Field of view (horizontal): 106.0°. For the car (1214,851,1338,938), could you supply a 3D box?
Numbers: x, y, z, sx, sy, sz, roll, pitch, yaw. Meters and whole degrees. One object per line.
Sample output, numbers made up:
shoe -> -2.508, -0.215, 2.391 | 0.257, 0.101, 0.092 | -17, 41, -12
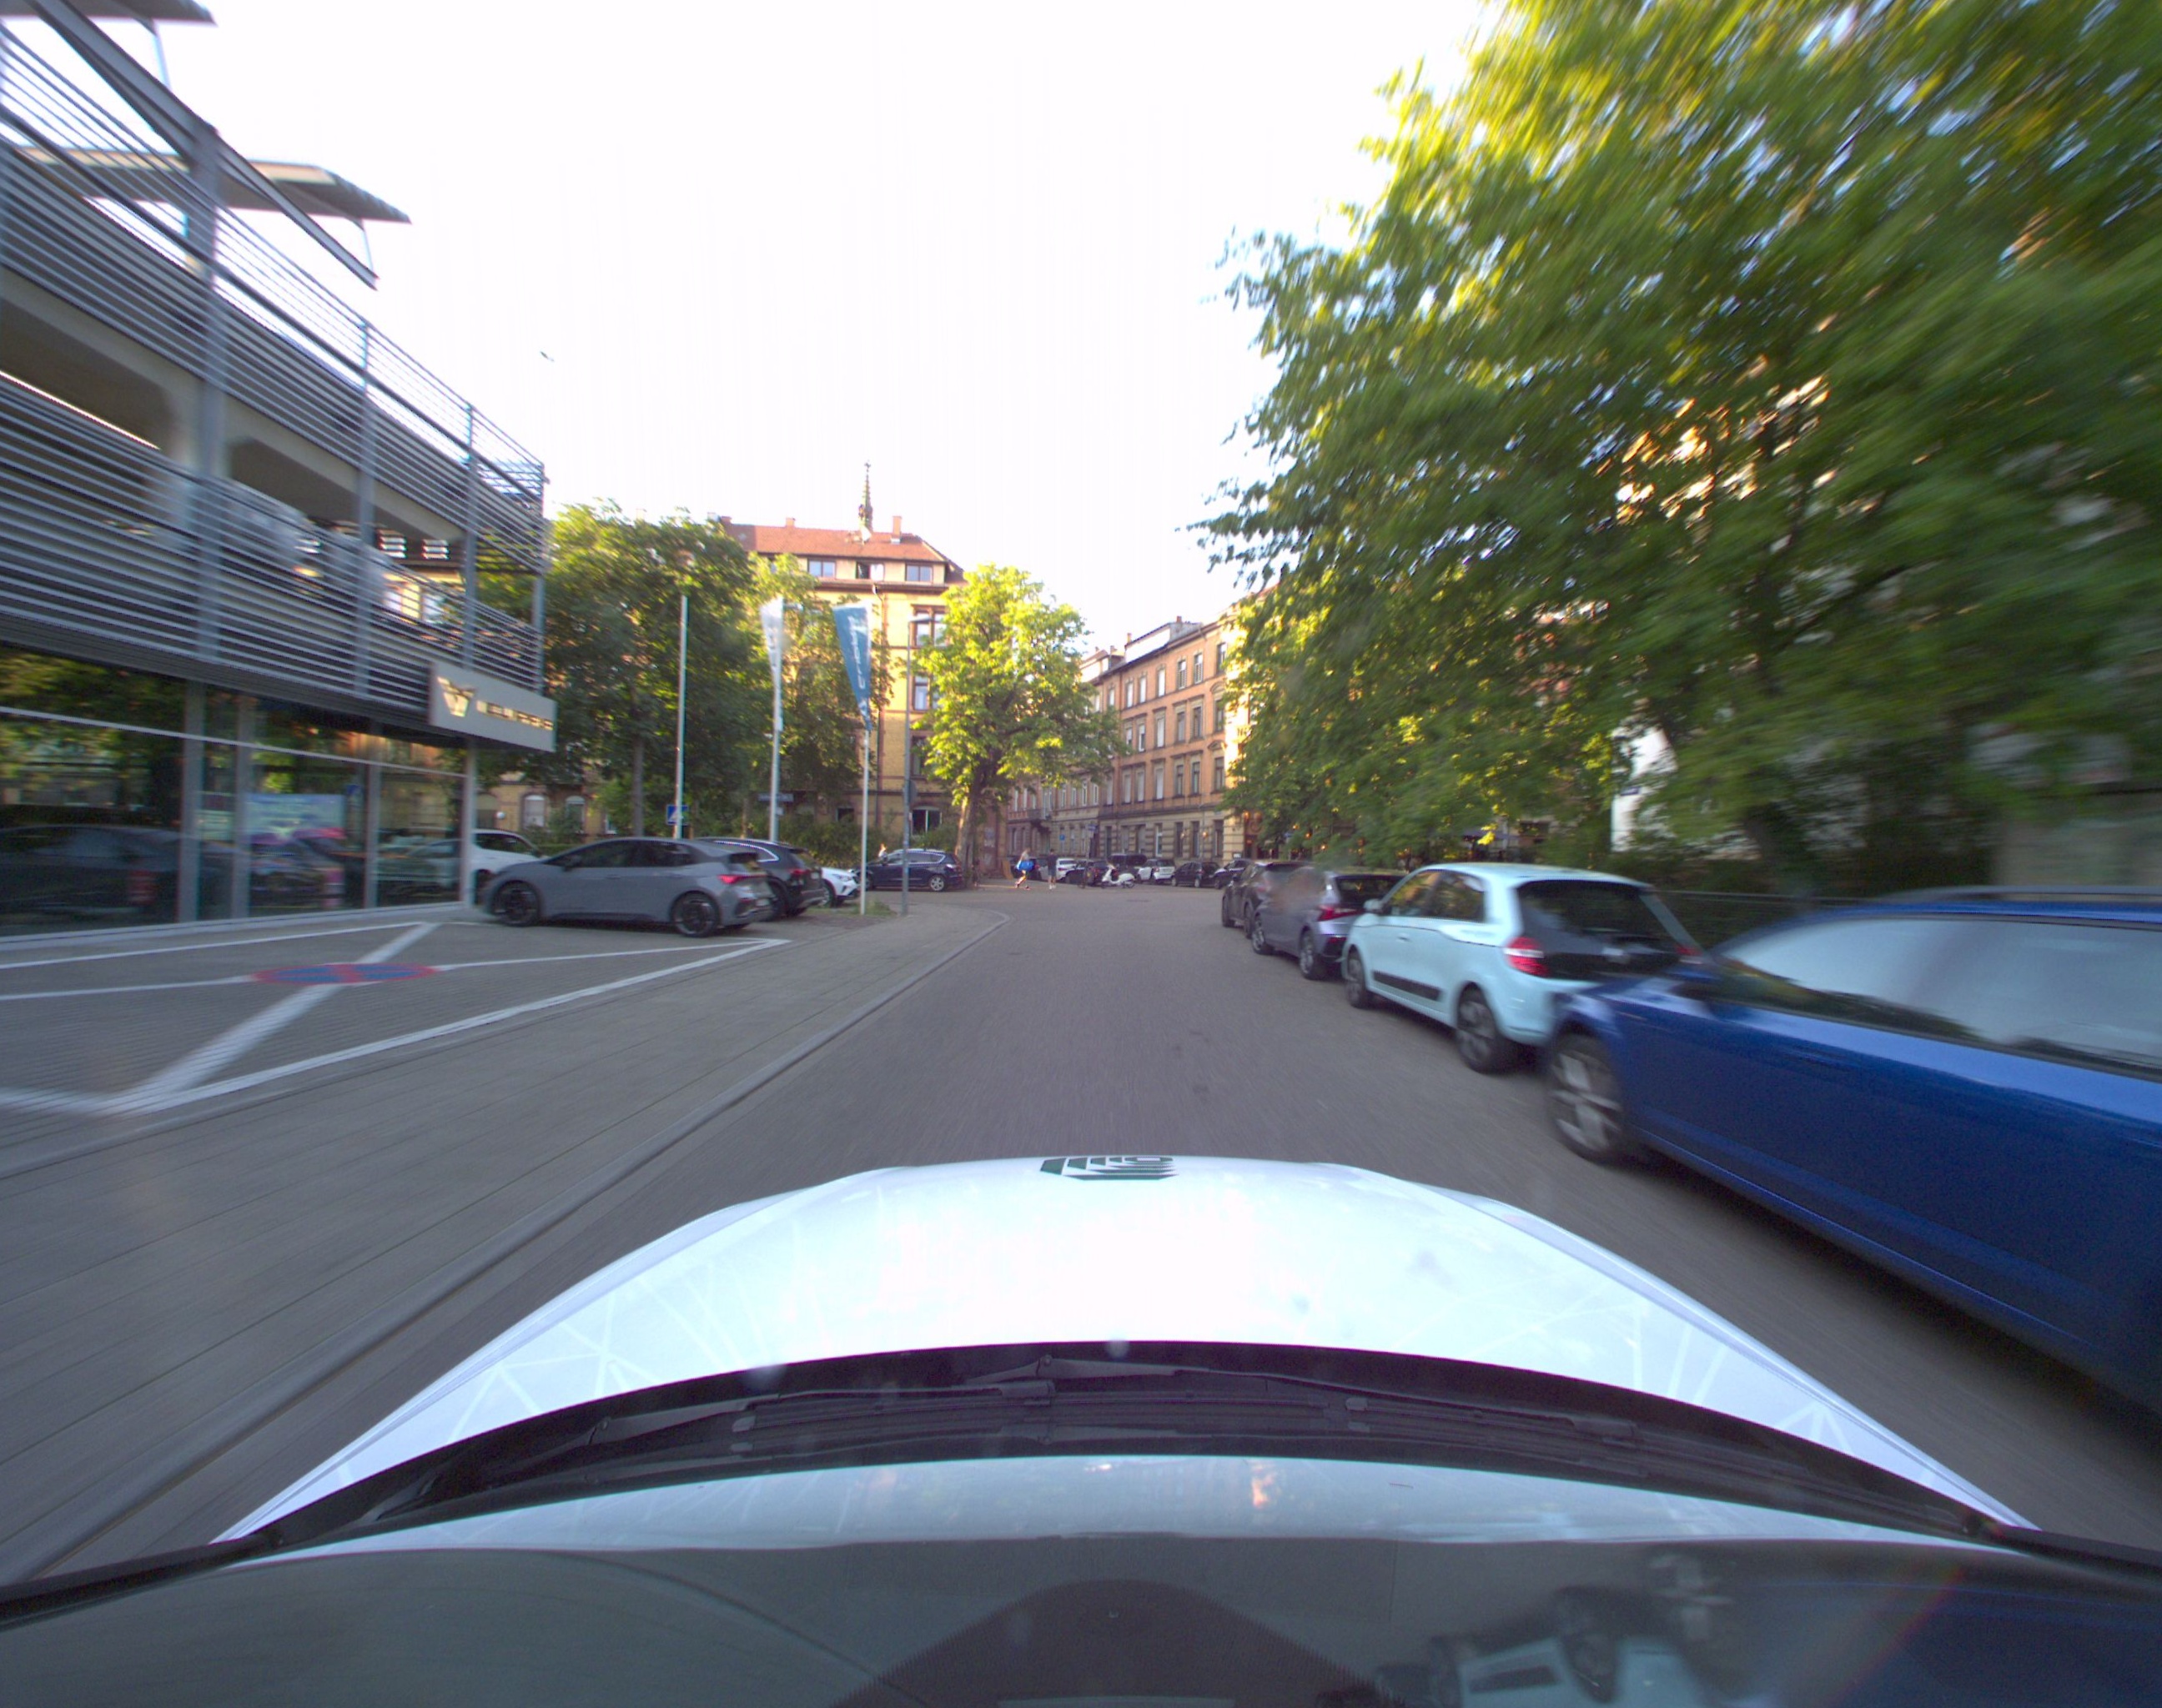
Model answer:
car -> 3.931, 0.760, 17.012 | 1.689, 1.571, 3.972 | 1, 0, 1

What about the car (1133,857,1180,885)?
car -> 4.470, 1.011, 48.629 | 1.681, 1.525, 2.746 | 2, 0, -22

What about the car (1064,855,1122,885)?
car -> 0.597, 0.843, 43.655 | 1.661, 1.431, 3.961 | 2, 1, -22

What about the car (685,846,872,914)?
car -> -7.683, 0.624, 20.995 | 4.035, 1.475, 1.919 | 3, 1, -3

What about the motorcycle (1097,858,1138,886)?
motorcycle -> 1.791, 0.912, 40.341 | 1.931, 1.340, 0.575 | 1, 0, -9

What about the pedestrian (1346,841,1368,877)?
pedestrian -> 14.251, 0.260, 42.070 | 0.774, 1.804, 0.839 | 1, 0, -13

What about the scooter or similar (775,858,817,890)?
scooter or similar -> -11.180, 0.789, 31.940 | 1.519, 1.224, 0.442 | 1, 0, -23

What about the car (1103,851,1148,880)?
car -> 2.833, 0.708, 52.158 | 1.681, 1.782, 2.992 | 2, 0, -22

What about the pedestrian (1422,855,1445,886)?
pedestrian -> 17.461, 0.806, 40.348 | 0.773, 1.481, 0.759 | 1, 0, -9

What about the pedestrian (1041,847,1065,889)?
pedestrian -> -1.240, 0.621, 35.706 | 0.737, 1.804, 1.115 | 1, 0, -19

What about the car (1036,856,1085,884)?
car -> -1.275, 0.918, 48.302 | 1.660, 1.431, 4.139 | 2, 1, -20

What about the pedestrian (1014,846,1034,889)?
pedestrian -> -2.452, 0.566, 35.372 | 0.813, 1.852, 0.802 | 1, 0, -3

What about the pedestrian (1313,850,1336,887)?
pedestrian -> 12.221, 0.734, 40.940 | 0.774, 1.804, 0.839 | 1, 0, -13

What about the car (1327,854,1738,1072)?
car -> 3.658, 0.767, 7.385 | 1.690, 1.477, 3.557 | 1, 0, -2

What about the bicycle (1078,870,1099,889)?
bicycle -> 0.367, 1.184, 38.256 | 0.421, 0.822, 1.470 | 1, 1, 24

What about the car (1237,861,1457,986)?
car -> 3.633, 0.870, 11.980 | 1.691, 1.477, 4.208 | 1, 0, -3

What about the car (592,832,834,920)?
car -> -7.346, 0.421, 16.548 | 4.054, 1.618, 1.765 | 1, 0, -1

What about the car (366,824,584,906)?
car -> -13.018, 0.230, 17.880 | 1.698, 1.550, 4.219 | 1, 0, -3

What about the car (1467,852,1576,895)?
car -> 18.515, 0.798, 34.318 | 3.749, 1.605, 1.625 | 2, 2, -5

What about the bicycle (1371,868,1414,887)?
bicycle -> 14.544, 1.092, 37.981 | 1.969, 0.885, 0.399 | 1, 0, -12

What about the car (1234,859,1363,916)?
car -> 6.412, 0.936, 23.771 | 1.858, 1.466, 3.994 | 2, 1, 45

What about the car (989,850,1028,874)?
car -> -5.228, 0.563, 57.998 | 1.661, 1.524, 3.867 | 2, 1, -22

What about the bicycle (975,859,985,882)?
bicycle -> -4.887, 0.793, 39.535 | 0.318, 1.028, 1.676 | 1, 0, -2

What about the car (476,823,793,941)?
car -> -7.242, 0.420, 13.547 | 4.116, 1.618, 1.913 | 3, 0, -1

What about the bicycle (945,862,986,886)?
bicycle -> -4.955, 0.868, 35.052 | 1.678, 1.028, 0.442 | 1, 0, -23

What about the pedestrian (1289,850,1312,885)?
pedestrian -> 11.544, 0.702, 42.861 | 0.843, 1.804, 0.771 | 1, 0, -19

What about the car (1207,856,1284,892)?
car -> 8.102, 0.962, 40.503 | 1.922, 1.525, 3.867 | 2, 1, -22

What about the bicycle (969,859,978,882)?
bicycle -> -5.202, 0.784, 39.423 | 0.241, 1.028, 1.676 | 1, 0, -2

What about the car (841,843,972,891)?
car -> -6.865, 0.492, 32.463 | 4.820, 1.732, 1.918 | 2, 1, -5

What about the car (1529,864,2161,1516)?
car -> 3.357, 0.798, 2.605 | 1.688, 1.477, 4.118 | 1, 0, 2

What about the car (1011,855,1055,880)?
car -> -3.143, 0.848, 52.631 | 1.661, 1.431, 3.867 | 2, 1, -22

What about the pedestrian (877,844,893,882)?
pedestrian -> -8.427, 0.386, 35.034 | 0.541, 1.635, 0.447 | 1, 0, -3

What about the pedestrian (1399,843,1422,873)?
pedestrian -> 16.229, 0.196, 40.157 | 0.773, 1.481, 0.759 | 1, 0, -9

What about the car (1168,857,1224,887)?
car -> 6.299, 0.995, 44.980 | 1.681, 1.525, 3.220 | 1, 1, -22
